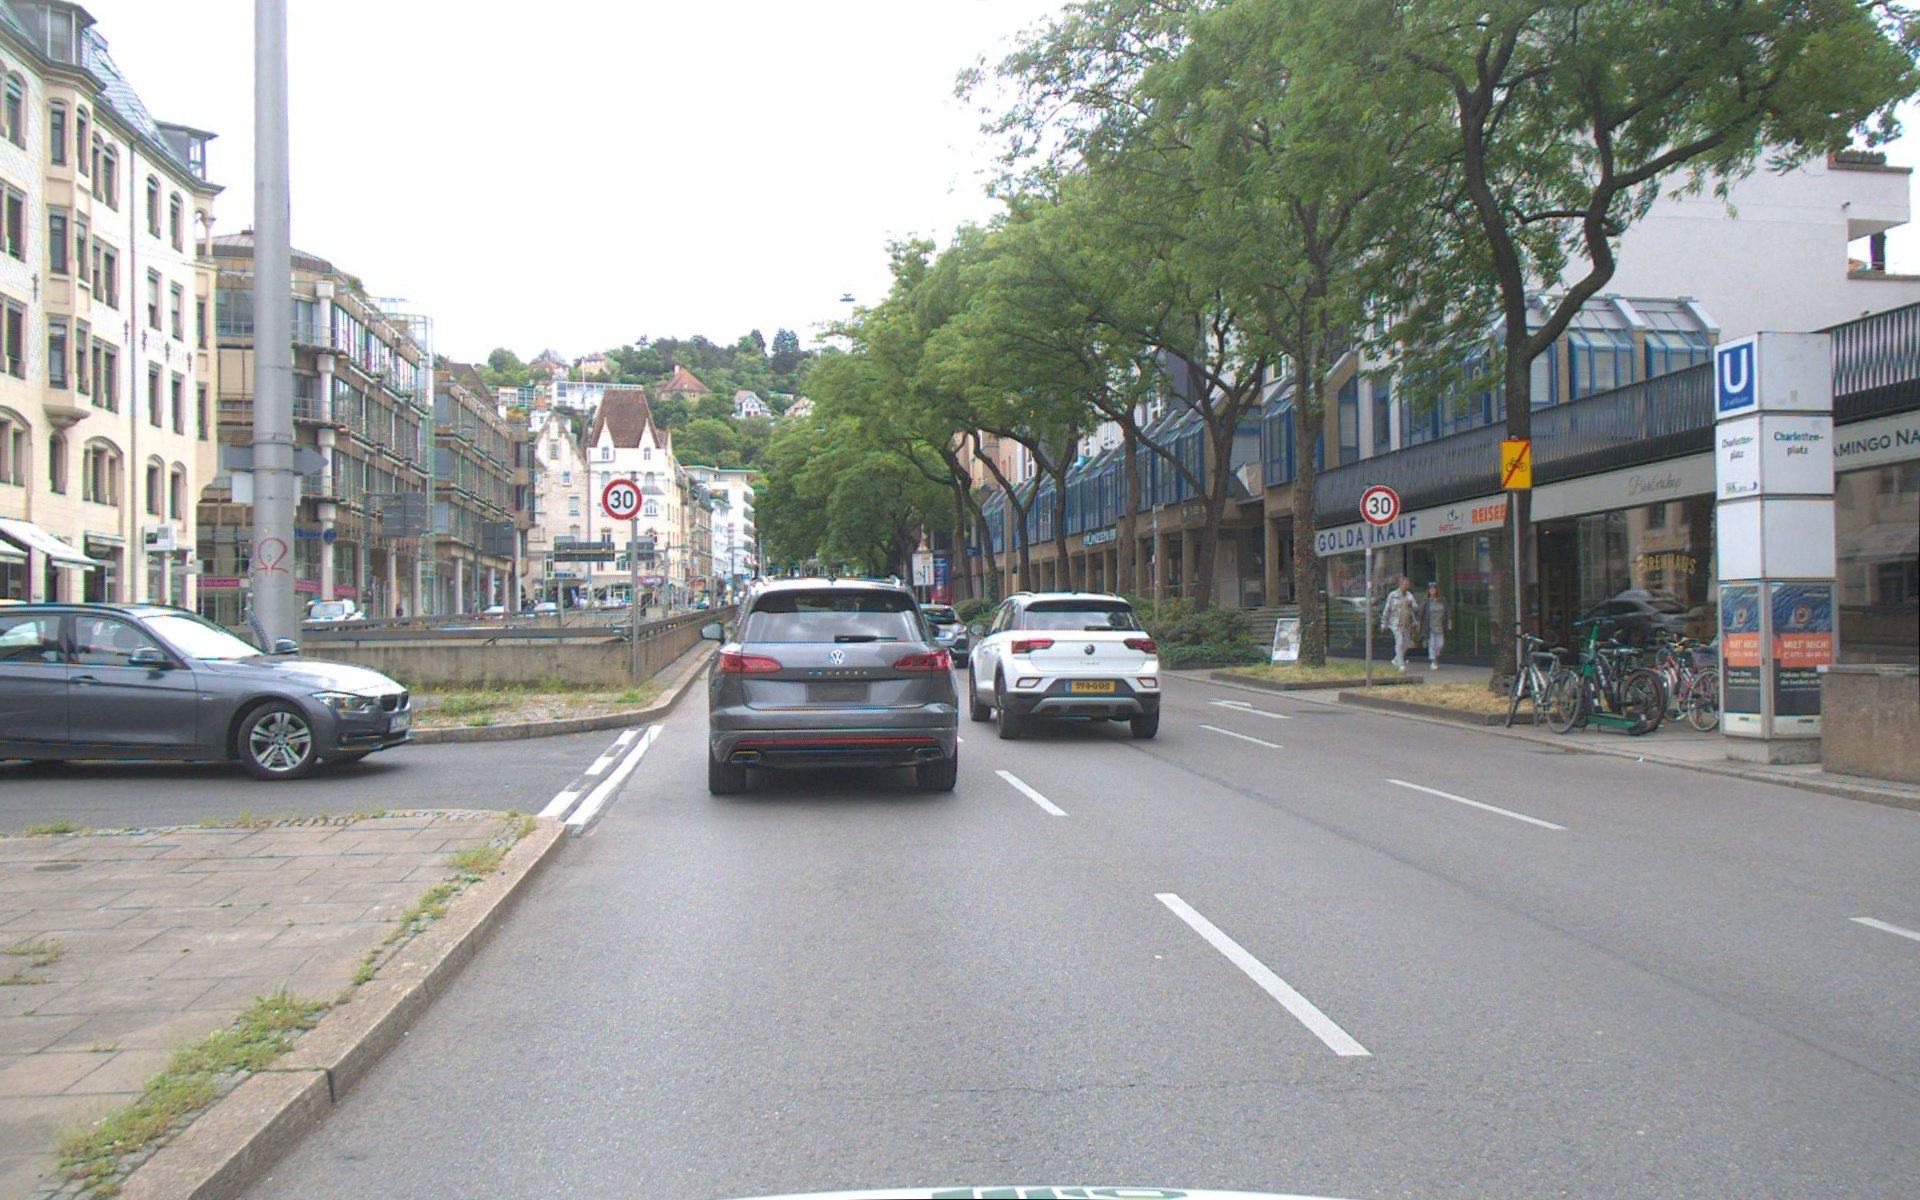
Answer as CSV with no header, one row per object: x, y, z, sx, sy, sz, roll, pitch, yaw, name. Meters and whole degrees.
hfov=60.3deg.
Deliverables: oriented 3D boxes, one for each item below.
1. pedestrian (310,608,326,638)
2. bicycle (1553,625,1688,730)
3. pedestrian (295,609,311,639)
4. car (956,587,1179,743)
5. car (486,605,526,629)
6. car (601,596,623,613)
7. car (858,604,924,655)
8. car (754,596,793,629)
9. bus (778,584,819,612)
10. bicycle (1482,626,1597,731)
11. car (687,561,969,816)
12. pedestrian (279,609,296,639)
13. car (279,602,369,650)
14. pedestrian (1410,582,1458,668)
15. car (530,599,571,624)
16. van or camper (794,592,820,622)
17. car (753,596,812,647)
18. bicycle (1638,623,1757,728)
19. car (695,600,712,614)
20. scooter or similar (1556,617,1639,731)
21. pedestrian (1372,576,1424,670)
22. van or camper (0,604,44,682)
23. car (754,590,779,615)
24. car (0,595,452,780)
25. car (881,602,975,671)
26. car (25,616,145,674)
-34.038,1.235,87.703,0.688,1.571,0.844,-1,0,-15,pedestrian
7.737,0.880,19.463,0.481,1.152,1.881,-1,0,-13,bicycle
-34.758,1.252,87.489,0.688,1.571,0.844,-1,0,-15,pedestrian
1.117,0.713,19.033,1.764,1.572,3.927,-1,-1,-8,car
-30.729,1.127,112.070,1.956,1.490,4.876,-1,0,-8,car
-38.157,0.483,181.334,1.956,1.798,4.274,-1,0,-7,car
-2.232,0.914,52.646,1.797,1.544,3.761,-1,0,-7,car
-9.498,0.623,84.018,1.798,1.594,3.759,-2,0,-9,car
-22.013,-0.285,226.360,3.770,3.593,17.246,-1,0,1,bus
6.780,0.890,19.423,0.480,1.152,1.840,-1,0,-8,bicycle
-1.090,0.614,13.782,1.932,1.725,4.220,-2,0,-5,car
-35.485,1.275,87.289,0.688,1.571,0.844,-1,0,-15,pedestrian
-21.854,0.869,56.979,1.882,1.553,4.534,-1,0,-8,car
9.281,0.481,32.398,0.585,1.657,0.755,-1,0,-13,pedestrian
-28.226,0.778,114.103,1.954,1.613,4.882,-1,0,-5,car
-17.315,0.760,187.040,2.579,3.234,5.791,-1,0,-9,van or camper
-5.808,0.680,53.910,1.797,1.544,3.761,-2,0,-7,car
8.624,0.862,19.403,0.480,1.152,1.686,-1,0,-6,bicycle
-32.581,0.863,210.264,1.956,1.798,4.274,-1,0,-7,car
7.339,0.836,19.072,0.301,1.273,0.991,-1,0,-20,scooter or similar
8.501,0.446,32.127,0.585,1.784,0.938,-1,0,-12,pedestrian
-23.025,1.006,38.142,1.833,1.782,4.478,0,0,-8,van or camper
-15.421,0.235,131.846,1.796,1.907,4.864,-2,0,-6,car
-7.014,0.733,14.573,4.456,1.484,1.881,-1,0,1,car
-0.809,0.815,38.992,1.798,1.457,4.141,0,1,-7,car
-23.717,1.193,44.966,1.754,1.430,3.576,-1,0,-8,car
